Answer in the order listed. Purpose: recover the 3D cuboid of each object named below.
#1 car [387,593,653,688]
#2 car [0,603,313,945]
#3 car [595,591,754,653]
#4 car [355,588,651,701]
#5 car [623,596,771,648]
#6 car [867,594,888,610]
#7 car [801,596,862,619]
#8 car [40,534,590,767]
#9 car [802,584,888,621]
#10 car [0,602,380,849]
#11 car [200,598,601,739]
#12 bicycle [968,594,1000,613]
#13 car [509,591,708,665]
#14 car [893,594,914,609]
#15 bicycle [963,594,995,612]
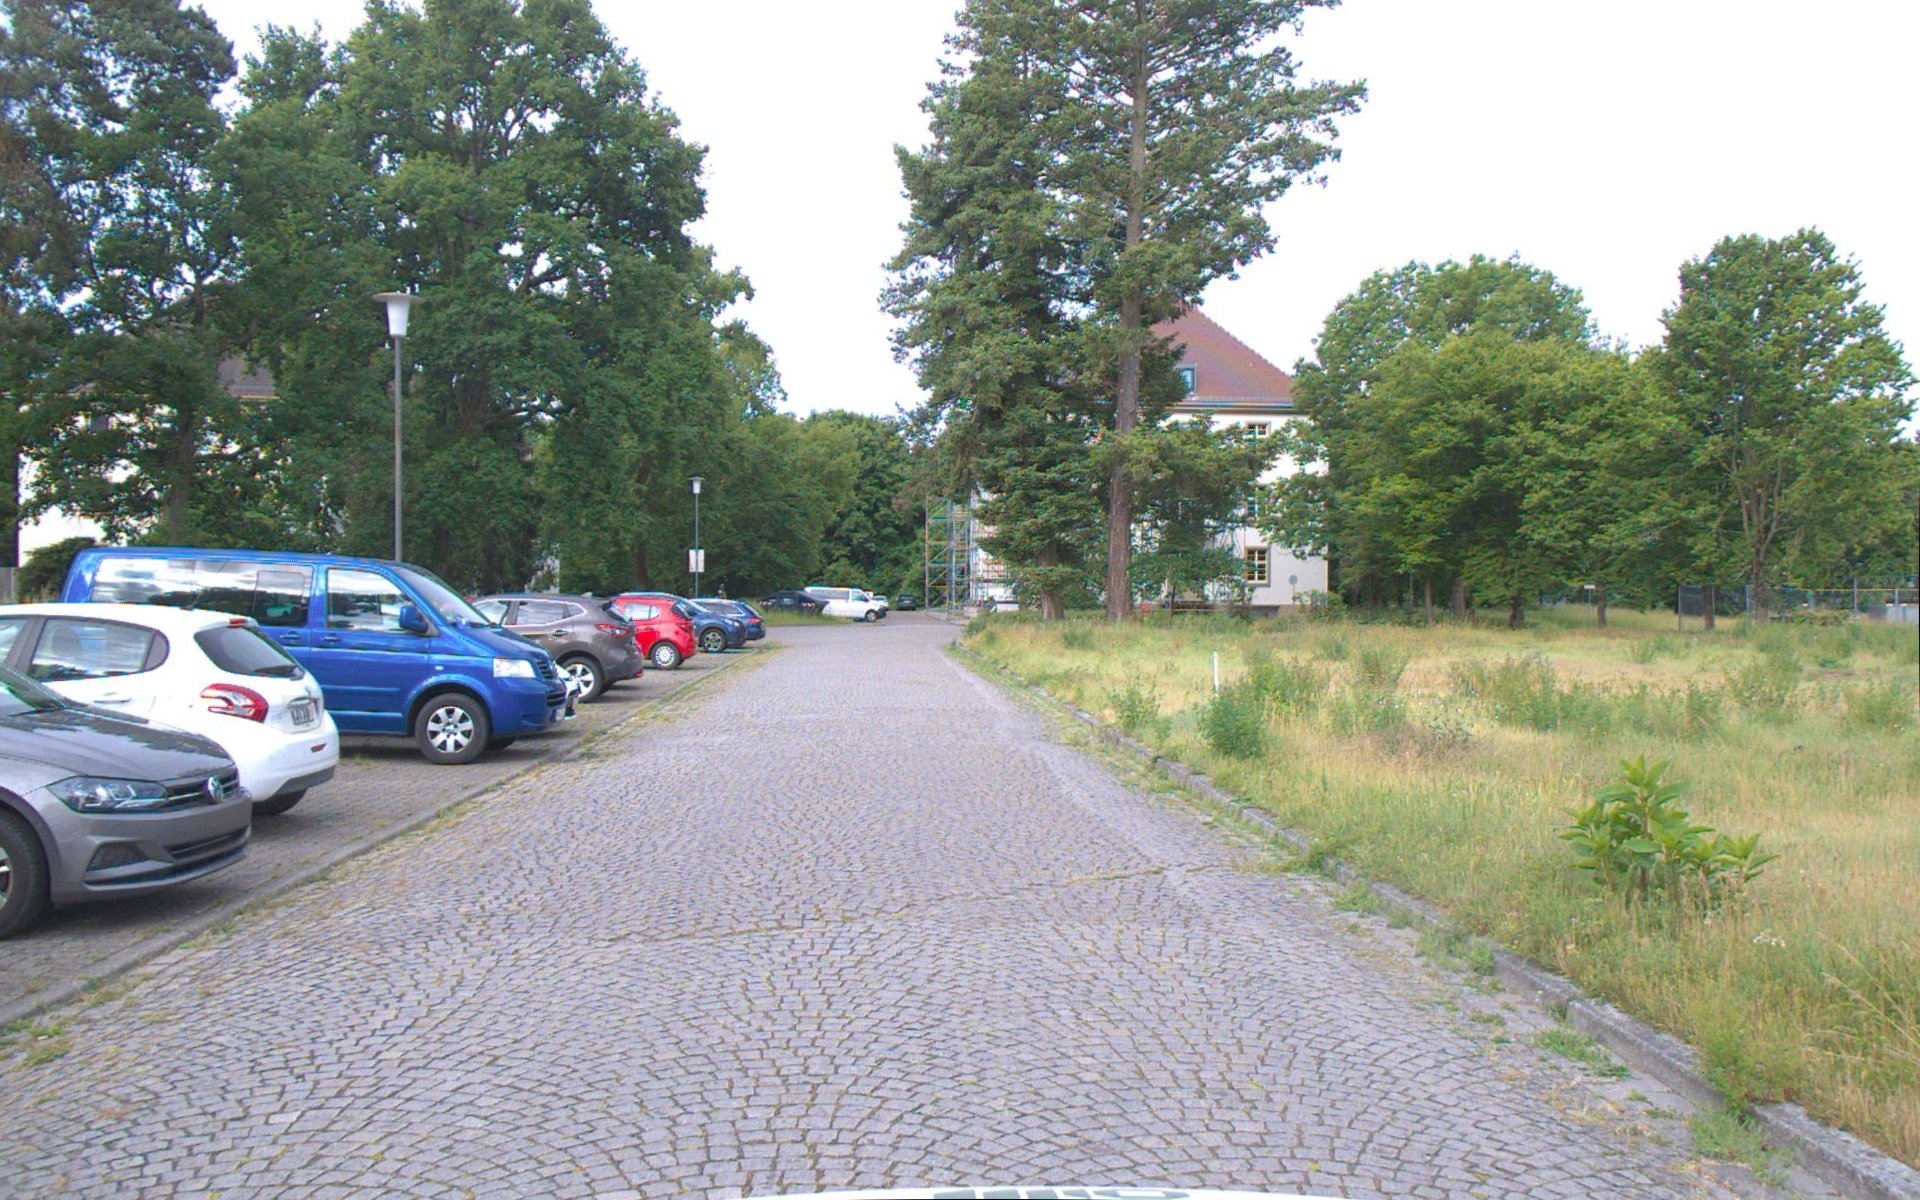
[{"bbox_3d":[-7.391,0.657,28.111,4.084,1.536,1.906,0,0,-5],"label":"car"},{"bbox_3d":[-5.653,0.782,8.293,4.082,1.517,1.864,0,0,-2],"label":"car"},{"bbox_3d":[-7.883,0.586,45.970,4.145,1.604,1.885,1,0,-5],"label":"car"},{"bbox_3d":[-6.910,0.645,25.396,4.086,1.650,1.984,0,0,-6],"label":"car"},{"bbox_3d":[-8.015,0.663,50.702,4.216,1.486,1.974,1,0,-2],"label":"car"},{"bbox_3d":[-8.287,0.174,165.646,2.077,1.548,3.996,0,0,-4],"label":"car"},{"bbox_3d":[-7.940,0.449,102.184,3.716,1.420,1.997,0,0,-6],"label":"car"},{"bbox_3d":[-6.246,0.463,16.545,4.688,2.159,2.113,0,0,-4],"label":"car"},{"bbox_3d":[-6.953,0.138,99.650,5.133,2.206,1.998,0,0,-6],"label":"car"},{"bbox_3d":[-6.254,0.787,11.244,3.986,1.523,1.845,0,0,-3],"label":"car"},{"bbox_3d":[-6.339,0.747,19.131,4.085,1.536,1.779,0,0,-6],"label":"car"},{"bbox_3d":[1.640,0.215,113.154,2.195,1.276,0.777,0,0,-1],"label":"bicycle"},{"bbox_3d":[-7.535,0.589,35.743,3.975,1.552,1.903,0,0,-5],"label":"car"},{"bbox_3d":[-5.683,0.163,166.103,1.913,1.548,3.996,0,0,-5],"label":"car"},{"bbox_3d":[1.353,0.242,117.398,2.195,1.276,0.777,0,0,-1],"label":"bicycle"}]
